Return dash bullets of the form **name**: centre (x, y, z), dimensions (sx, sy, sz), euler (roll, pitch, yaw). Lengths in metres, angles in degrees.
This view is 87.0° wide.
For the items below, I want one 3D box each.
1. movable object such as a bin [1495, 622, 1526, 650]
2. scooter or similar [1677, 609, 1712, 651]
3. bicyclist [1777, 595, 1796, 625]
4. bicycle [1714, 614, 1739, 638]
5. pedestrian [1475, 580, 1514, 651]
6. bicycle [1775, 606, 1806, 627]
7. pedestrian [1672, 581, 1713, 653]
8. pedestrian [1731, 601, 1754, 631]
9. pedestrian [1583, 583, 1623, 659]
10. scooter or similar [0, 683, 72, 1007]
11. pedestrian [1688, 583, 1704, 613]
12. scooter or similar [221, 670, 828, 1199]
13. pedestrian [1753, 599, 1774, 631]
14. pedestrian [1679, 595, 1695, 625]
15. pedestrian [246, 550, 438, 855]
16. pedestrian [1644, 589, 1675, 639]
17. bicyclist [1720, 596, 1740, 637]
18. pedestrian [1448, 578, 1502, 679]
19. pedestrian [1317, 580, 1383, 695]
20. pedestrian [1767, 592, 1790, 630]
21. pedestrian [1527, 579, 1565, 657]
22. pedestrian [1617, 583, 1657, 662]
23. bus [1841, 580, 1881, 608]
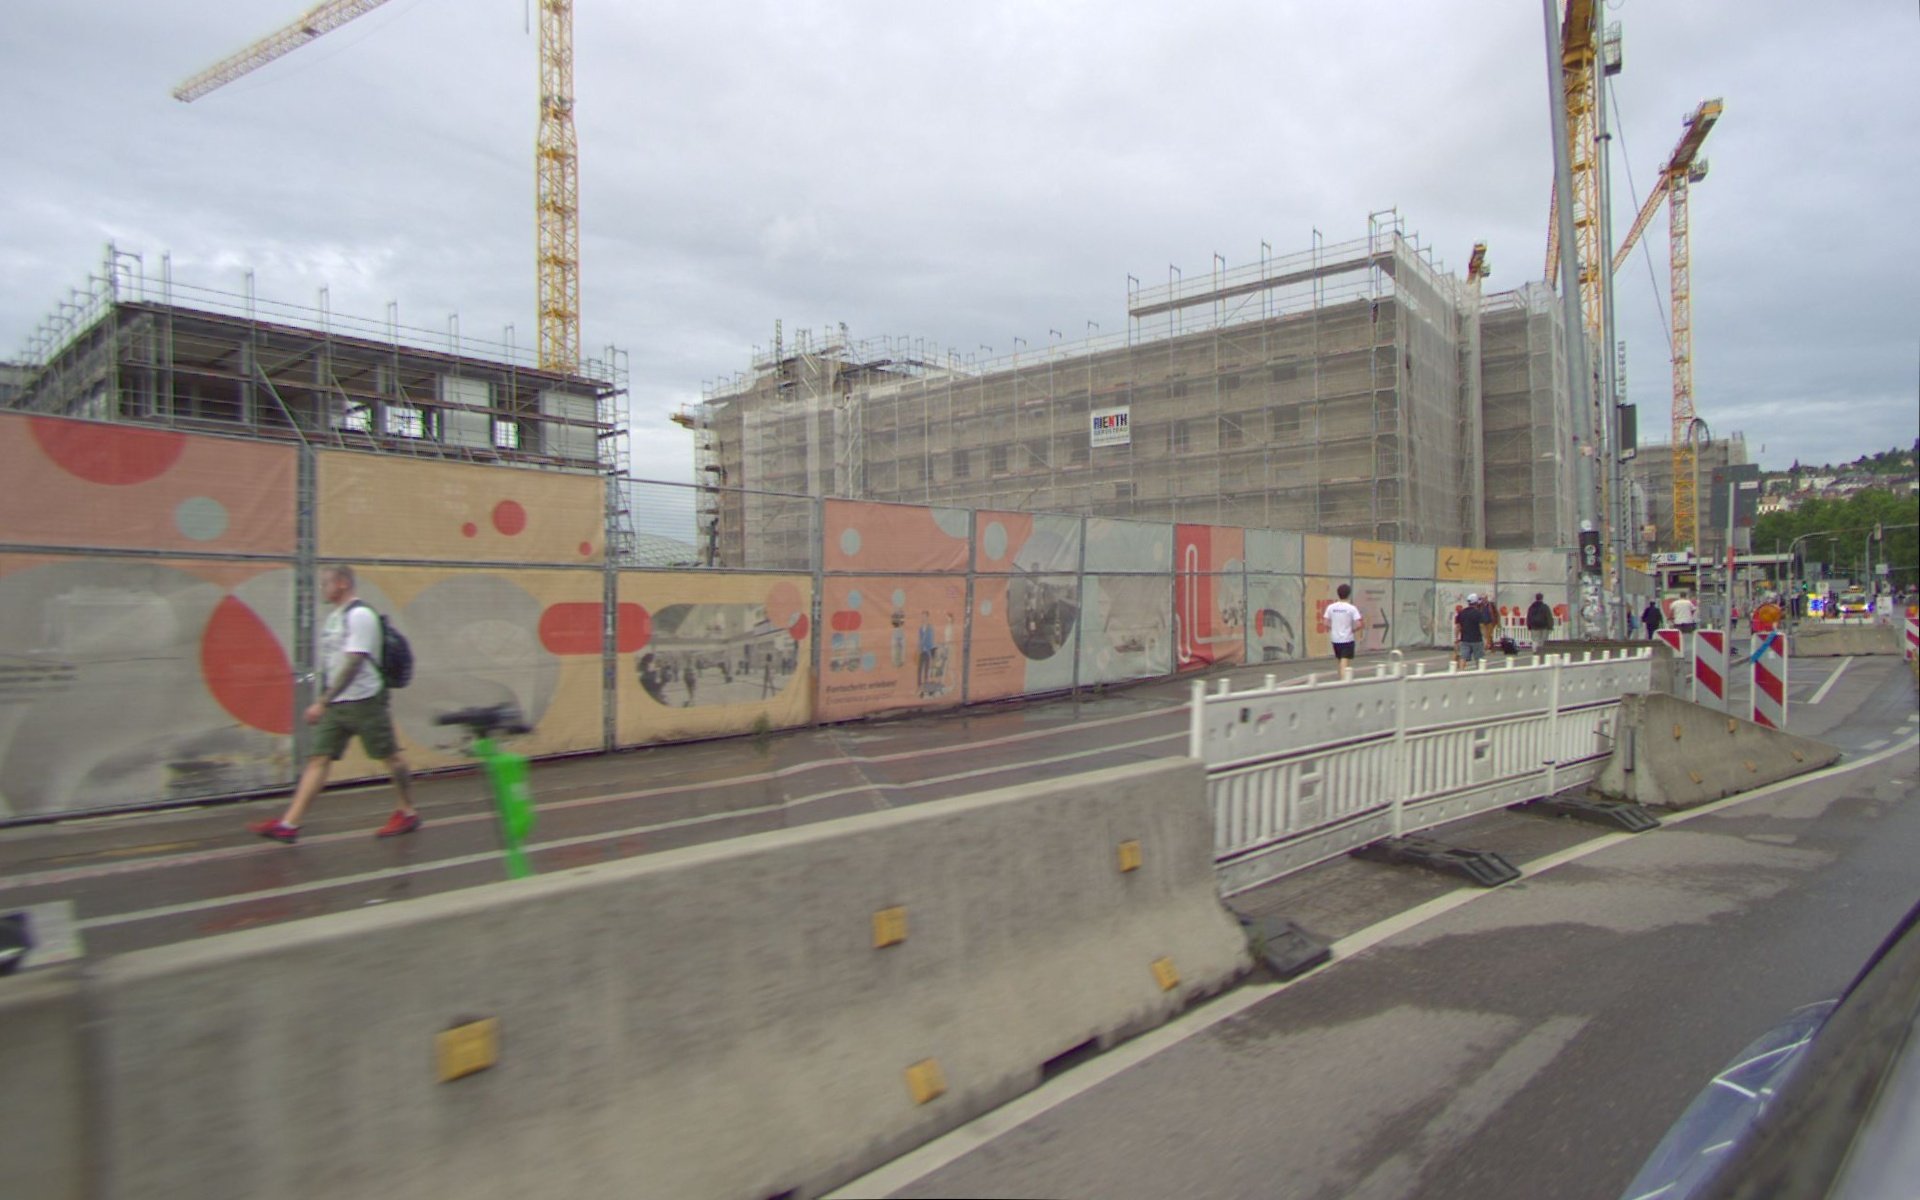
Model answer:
- **movable object such as a bin**: centre (15.359, 0.999, 28.240), dimensions (0.596, 0.743, 0.766), euler (-1, -1, 43)
- **scooter or similar**: centre (22.013, 0.887, 30.320), dimensions (1.027, 1.214, 0.665), euler (0, -1, -44)
- **bicyclist**: centre (47.513, 0.556, 58.184), dimensions (0.425, 1.726, 0.697), euler (0, -1, -31)
- **bicycle**: centre (38.900, 1.313, 51.360), dimensions (1.949, 1.126, 0.766), euler (0, -1, -45)
- **pedestrian**: centre (14.865, 0.421, 28.142), dimensions (0.643, 1.919, 0.767), euler (0, -1, -44)
- **bicycle**: centre (47.962, 0.965, 58.434), dimensions (1.952, 1.148, 0.757), euler (0, 1, -30)
- **pedestrian**: centre (21.335, 0.494, 29.465), dimensions (0.956, 2.042, 0.803), euler (1, -1, -44)
- **pedestrian**: centre (48.559, 0.975, 62.797), dimensions (0.729, 1.748, 0.714), euler (3, 3, 2)
- **pedestrian**: centre (16.303, 0.525, 25.662), dimensions (0.682, 1.913, 0.684), euler (1, -1, -44)
- **scooter or similar**: centre (-4.122, 0.950, 3.585), dimensions (0.466, 1.198, 1.397), euler (-1, -1, 34)
- **pedestrian**: centre (50.010, -0.111, 68.761), dimensions (0.617, 2.039, 0.577), euler (0, -1, 9)
- **scooter or similar**: centre (-1.230, 0.878, 3.031), dimensions (1.544, 1.230, 0.676), euler (0, -1, -41)
- **pedestrian**: centre (45.282, 0.817, 57.039), dimensions (0.867, 1.778, 0.813), euler (0, -1, -45)
- **pedestrian**: centre (48.720, 0.677, 67.822), dimensions (0.615, 2.039, 0.642), euler (0, -1, -25)
- **pedestrian**: centre (-4.193, 0.639, 6.885), dimensions (0.704, 1.890, 0.974), euler (-1, -1, 45)
- **pedestrian**: centre (27.483, 0.536, 39.760), dimensions (0.651, 1.919, 0.849), euler (0, -1, -44)
- **bicyclist**: centre (39.007, 0.825, 51.281), dimensions (0.589, 2.039, 0.727), euler (0, -1, -44)
- **pedestrian**: centre (9.283, 0.495, 18.233), dimensions (0.642, 1.763, 0.824), euler (-1, -1, 43)
- **pedestrian**: centre (6.188, 0.572, 16.052), dimensions (0.683, 1.763, 0.893), euler (-1, -1, 43)
- **pedestrian**: centre (43.552, 0.576, 53.875), dimensions (0.850, 2.037, 0.788), euler (0, 0, -40)
- **pedestrian**: centre (14.607, 0.447, 25.226), dimensions (0.683, 1.913, 0.683), euler (-1, -1, 42)
- **pedestrian**: centre (16.818, 0.547, 25.146), dimensions (0.682, 1.913, 0.684), euler (1, -1, -44)
- **bus**: centre (106.678, -0.673, 119.933), dimensions (2.985, 3.178, 7.658), euler (-1, 0, 38)
